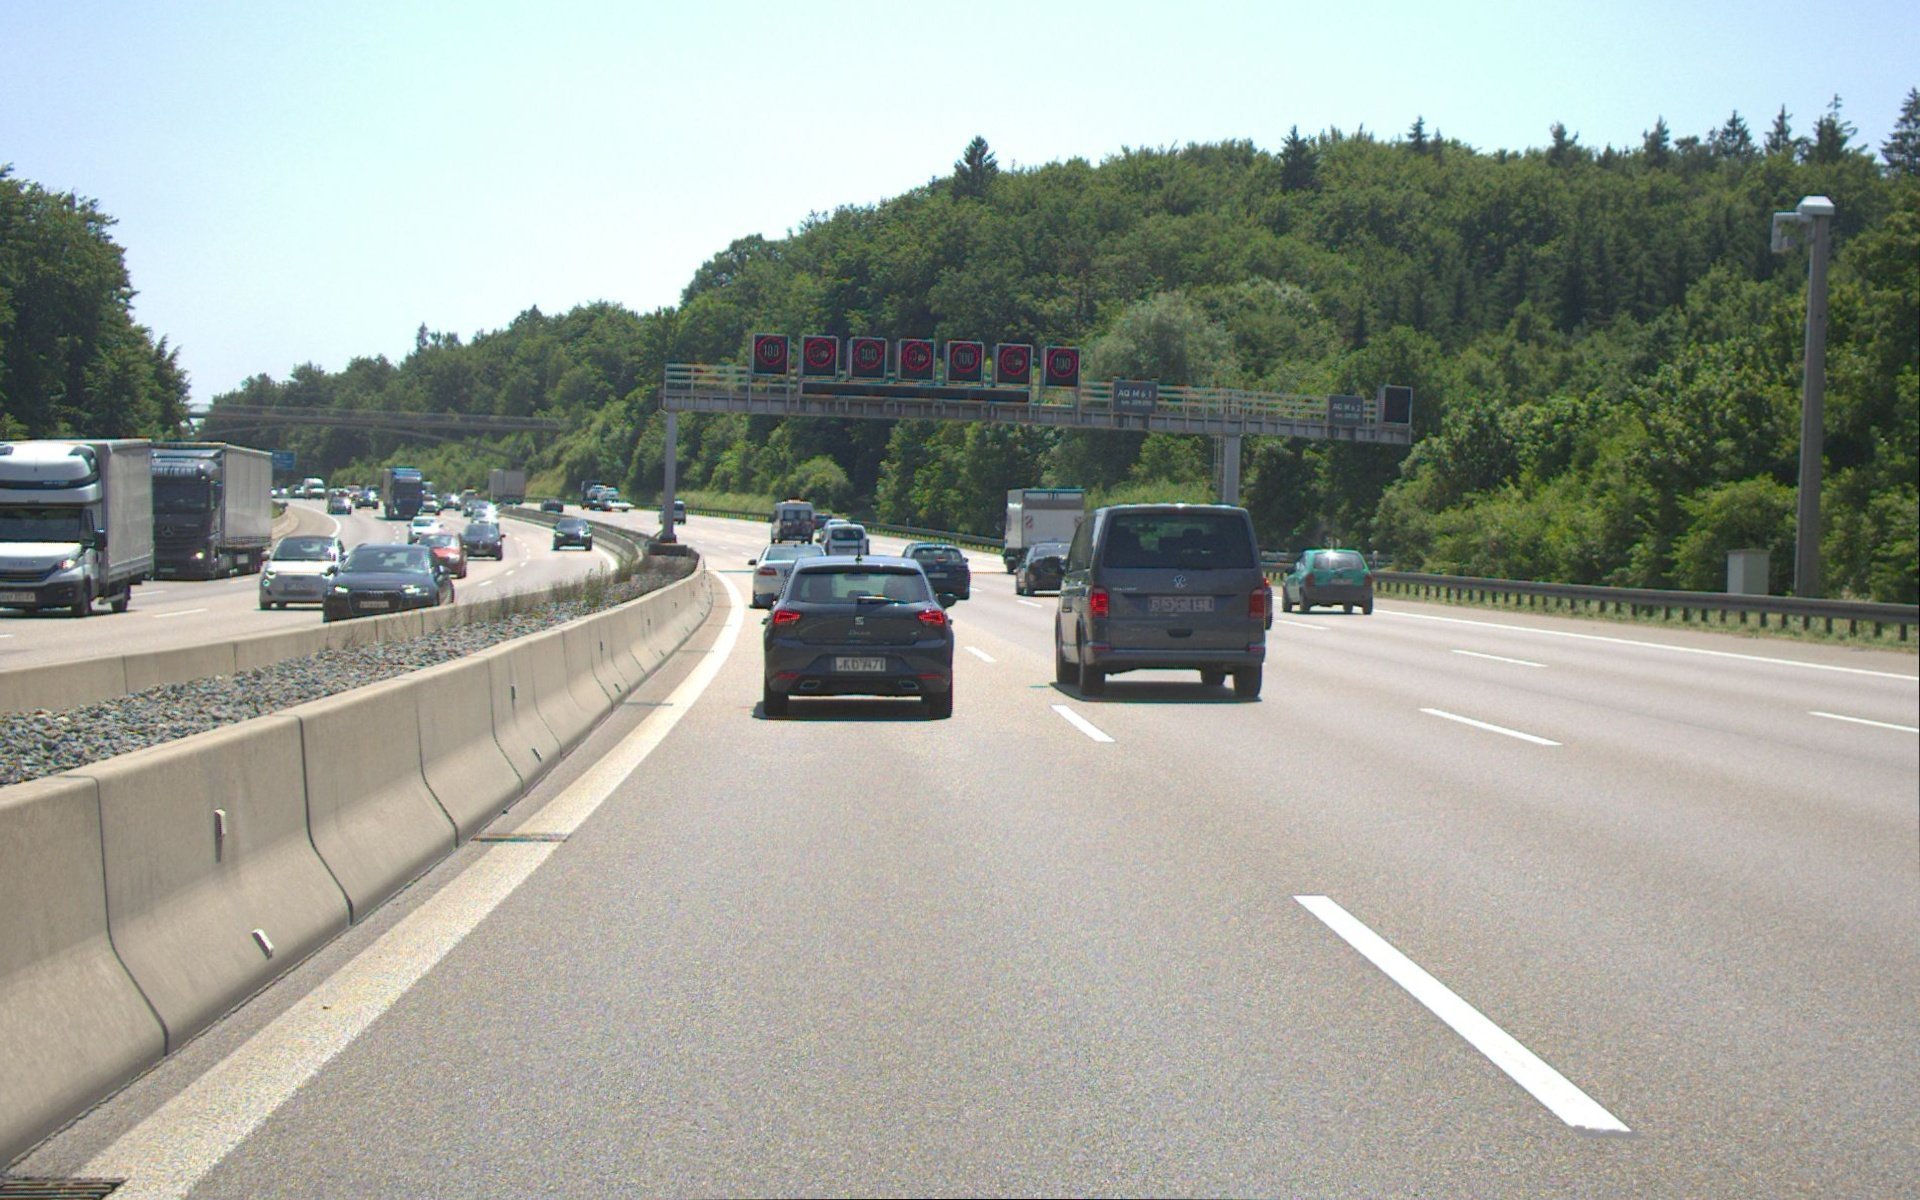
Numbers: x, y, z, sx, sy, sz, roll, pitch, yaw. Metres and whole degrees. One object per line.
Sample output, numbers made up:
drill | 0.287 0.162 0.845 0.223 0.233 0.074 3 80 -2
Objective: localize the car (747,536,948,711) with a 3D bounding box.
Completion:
car | -1.037 0.171 31.843 1.708 1.428 4.001 1 2 -2

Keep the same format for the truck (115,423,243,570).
truck | -23.699 -3.105 104.601 2.875 4.275 6.454 1 1 -4

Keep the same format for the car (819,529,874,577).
car | -4.490 -1.865 135.150 2.103 1.738 4.688 1 2 -2

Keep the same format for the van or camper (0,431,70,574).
van or camper | -22.808 -2.231 79.079 2.764 3.114 8.095 2 0 -2

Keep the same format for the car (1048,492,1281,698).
car | 2.091 -0.089 36.623 1.962 2.026 5.084 1 1 -2

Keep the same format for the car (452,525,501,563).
car | -20.766 -2.403 147.696 1.761 1.515 4.362 2 0 -4

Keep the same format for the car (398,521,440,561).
car | -29.339 -3.179 186.529 1.993 2.007 4.001 2 0 -5

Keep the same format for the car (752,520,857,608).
car | -3.475 -0.783 77.545 2.012 1.839 3.999 1 -1 2

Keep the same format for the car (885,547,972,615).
car | -0.835 -0.497 89.300 1.993 1.722 4.150 1 0 -4

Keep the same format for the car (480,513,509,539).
car | -31.077 -4.917 229.524 1.754 1.629 4.640 1 2 -6

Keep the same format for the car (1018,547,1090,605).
car | 2.562 -0.682 94.527 1.665 1.403 4.904 1 2 -2

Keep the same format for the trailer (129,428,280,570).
trailer | -24.212 -3.170 110.913 2.864 4.248 13.963 1 1 -5

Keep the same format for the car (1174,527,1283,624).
car | 4.940 -0.457 63.603 1.849 1.722 4.000 1 0 2

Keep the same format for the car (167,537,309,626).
car | -14.467 -0.389 69.054 1.993 1.722 4.000 1 1 0

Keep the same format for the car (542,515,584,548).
car | -20.491 -3.557 177.439 1.993 1.662 4.435 1 1 -4

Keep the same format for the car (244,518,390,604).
car | -13.583 -0.840 72.932 2.287 1.722 5.031 1 1 -2

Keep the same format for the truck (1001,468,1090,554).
truck | 3.233 -3.460 132.089 2.985 3.156 7.576 1 2 -2

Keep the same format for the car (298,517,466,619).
car | -9.446 -0.534 56.561 1.993 1.584 4.844 1 1 -1

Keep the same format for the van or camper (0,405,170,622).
van or camper | -17.185 -1.549 65.631 2.829 3.826 8.216 2 0 -4

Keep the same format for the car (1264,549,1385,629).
car | 8.126 -0.260 76.978 1.993 1.722 4.001 1 0 -4

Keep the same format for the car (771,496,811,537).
car | -10.048 -4.943 204.527 2.265 2.363 4.702 1 1 -1
